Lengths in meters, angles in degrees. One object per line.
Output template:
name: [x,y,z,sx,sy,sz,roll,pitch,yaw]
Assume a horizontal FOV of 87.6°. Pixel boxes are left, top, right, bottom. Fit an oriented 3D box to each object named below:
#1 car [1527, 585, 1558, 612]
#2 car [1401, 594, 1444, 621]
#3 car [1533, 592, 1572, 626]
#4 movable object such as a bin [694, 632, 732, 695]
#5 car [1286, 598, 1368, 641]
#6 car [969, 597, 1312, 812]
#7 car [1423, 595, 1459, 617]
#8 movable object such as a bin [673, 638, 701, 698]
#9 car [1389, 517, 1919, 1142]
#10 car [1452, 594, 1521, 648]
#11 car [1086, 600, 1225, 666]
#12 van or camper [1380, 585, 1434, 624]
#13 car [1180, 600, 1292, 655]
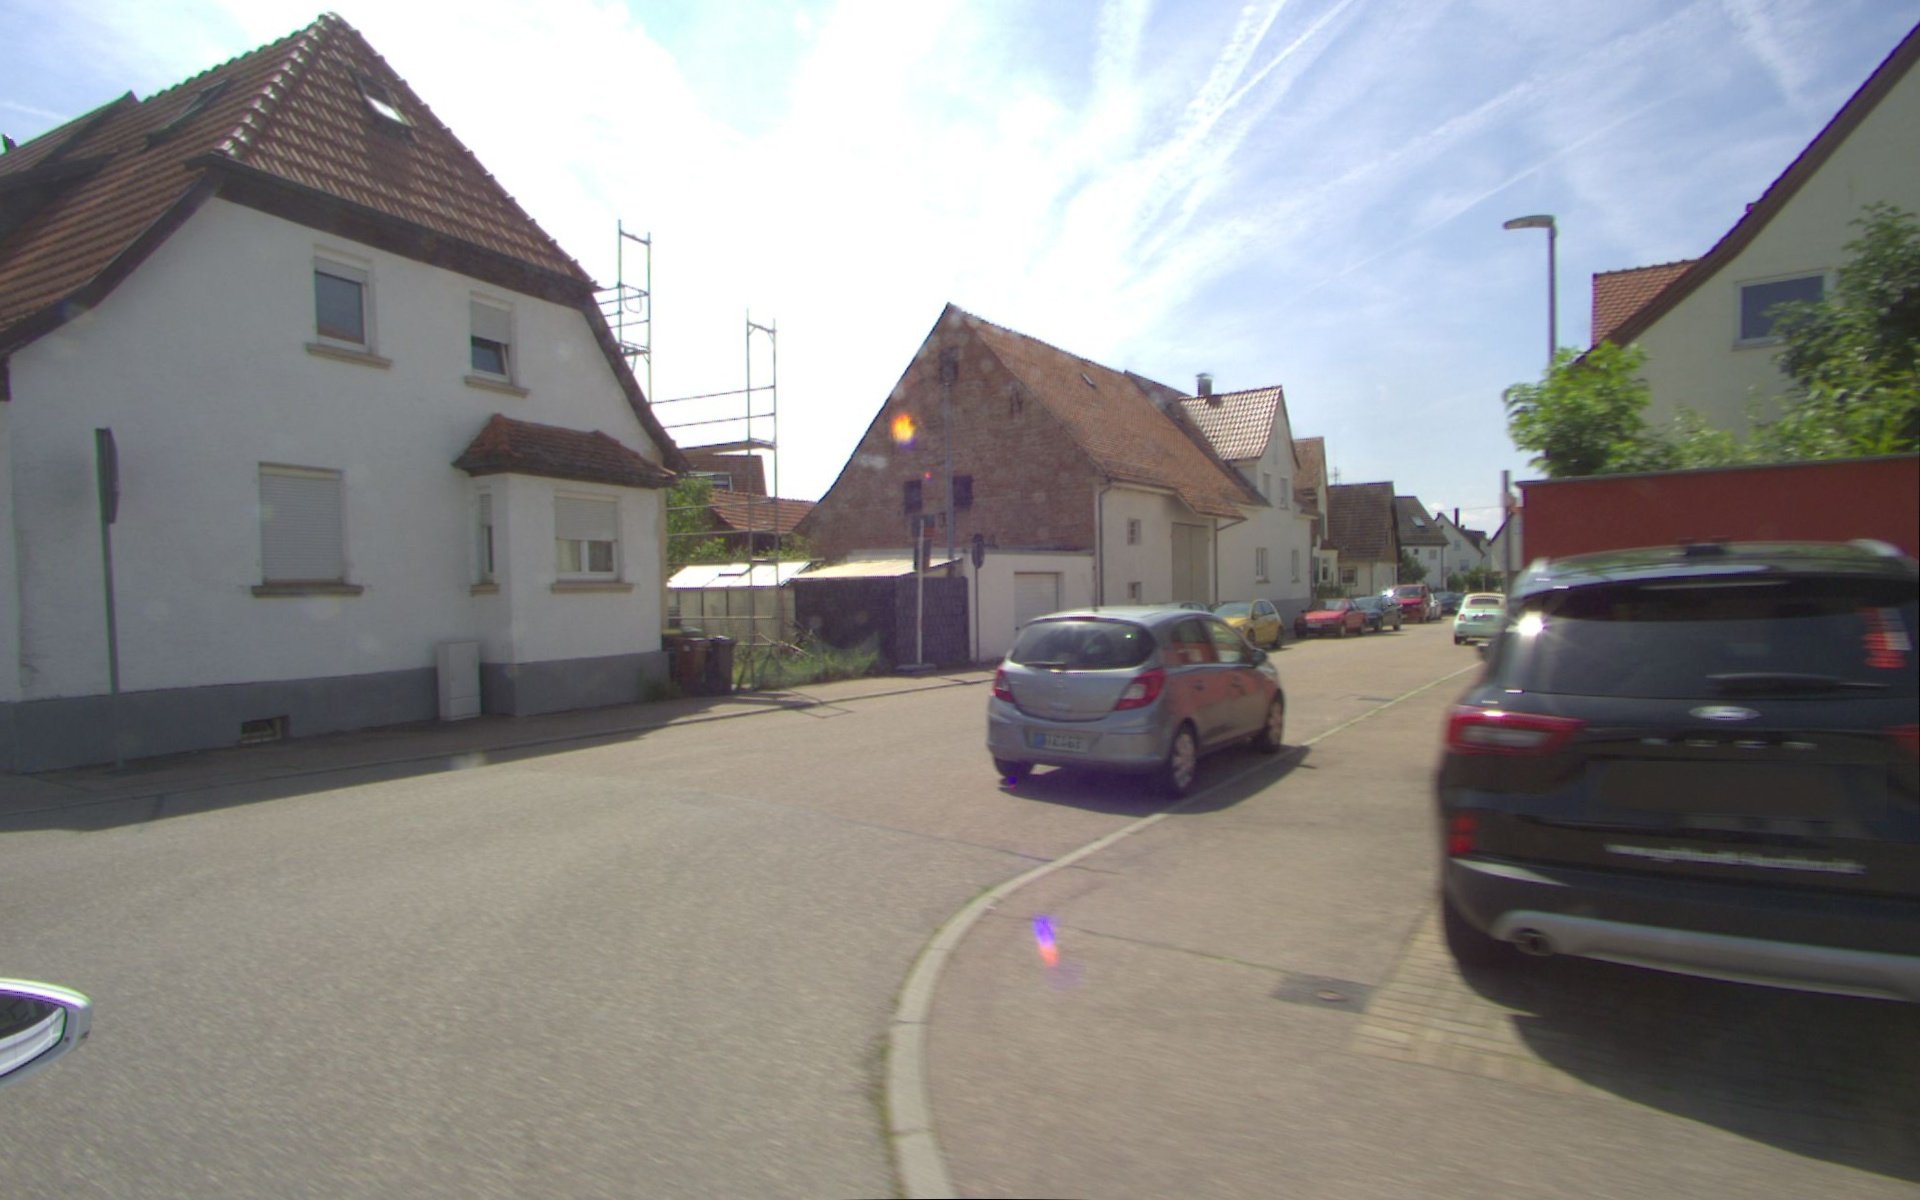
car: [41.193,-0.119,70.801,1.820,1.770,3.980,-1,0,30]
car: [25.856,0.418,55.880,1.679,1.409,3.978,-1,0,32]
car: [33.114,0.494,56.024,1.820,1.770,3.980,-1,0,30]
movable object such as a bin: [-4.068,1.048,16.522,0.285,1.005,0.584,-2,0,24]
car: [13.282,0.668,36.132,1.682,1.409,3.972,-1,0,37]
car: [1.884,0.751,9.356,1.671,1.524,3.975,0,1,35]
car: [32.106,0.373,66.794,1.679,1.409,3.978,-1,0,32]
movable object such as a bin: [-4.422,1.100,16.203,0.354,0.958,0.227,-2,0,23]
car: [3.432,0.615,4.685,1.823,1.675,4.281,-1,0,34]
car: [16.115,0.580,30.567,1.733,1.501,3.981,1,1,30]
car: [4.765,0.742,23.979,1.682,1.409,3.972,-1,0,37]
van or camper: [22.998,0.219,51.425,1.849,1.902,4.375,-1,0,33]
car: [7.825,0.733,28.212,1.682,1.409,3.972,-1,0,37]
